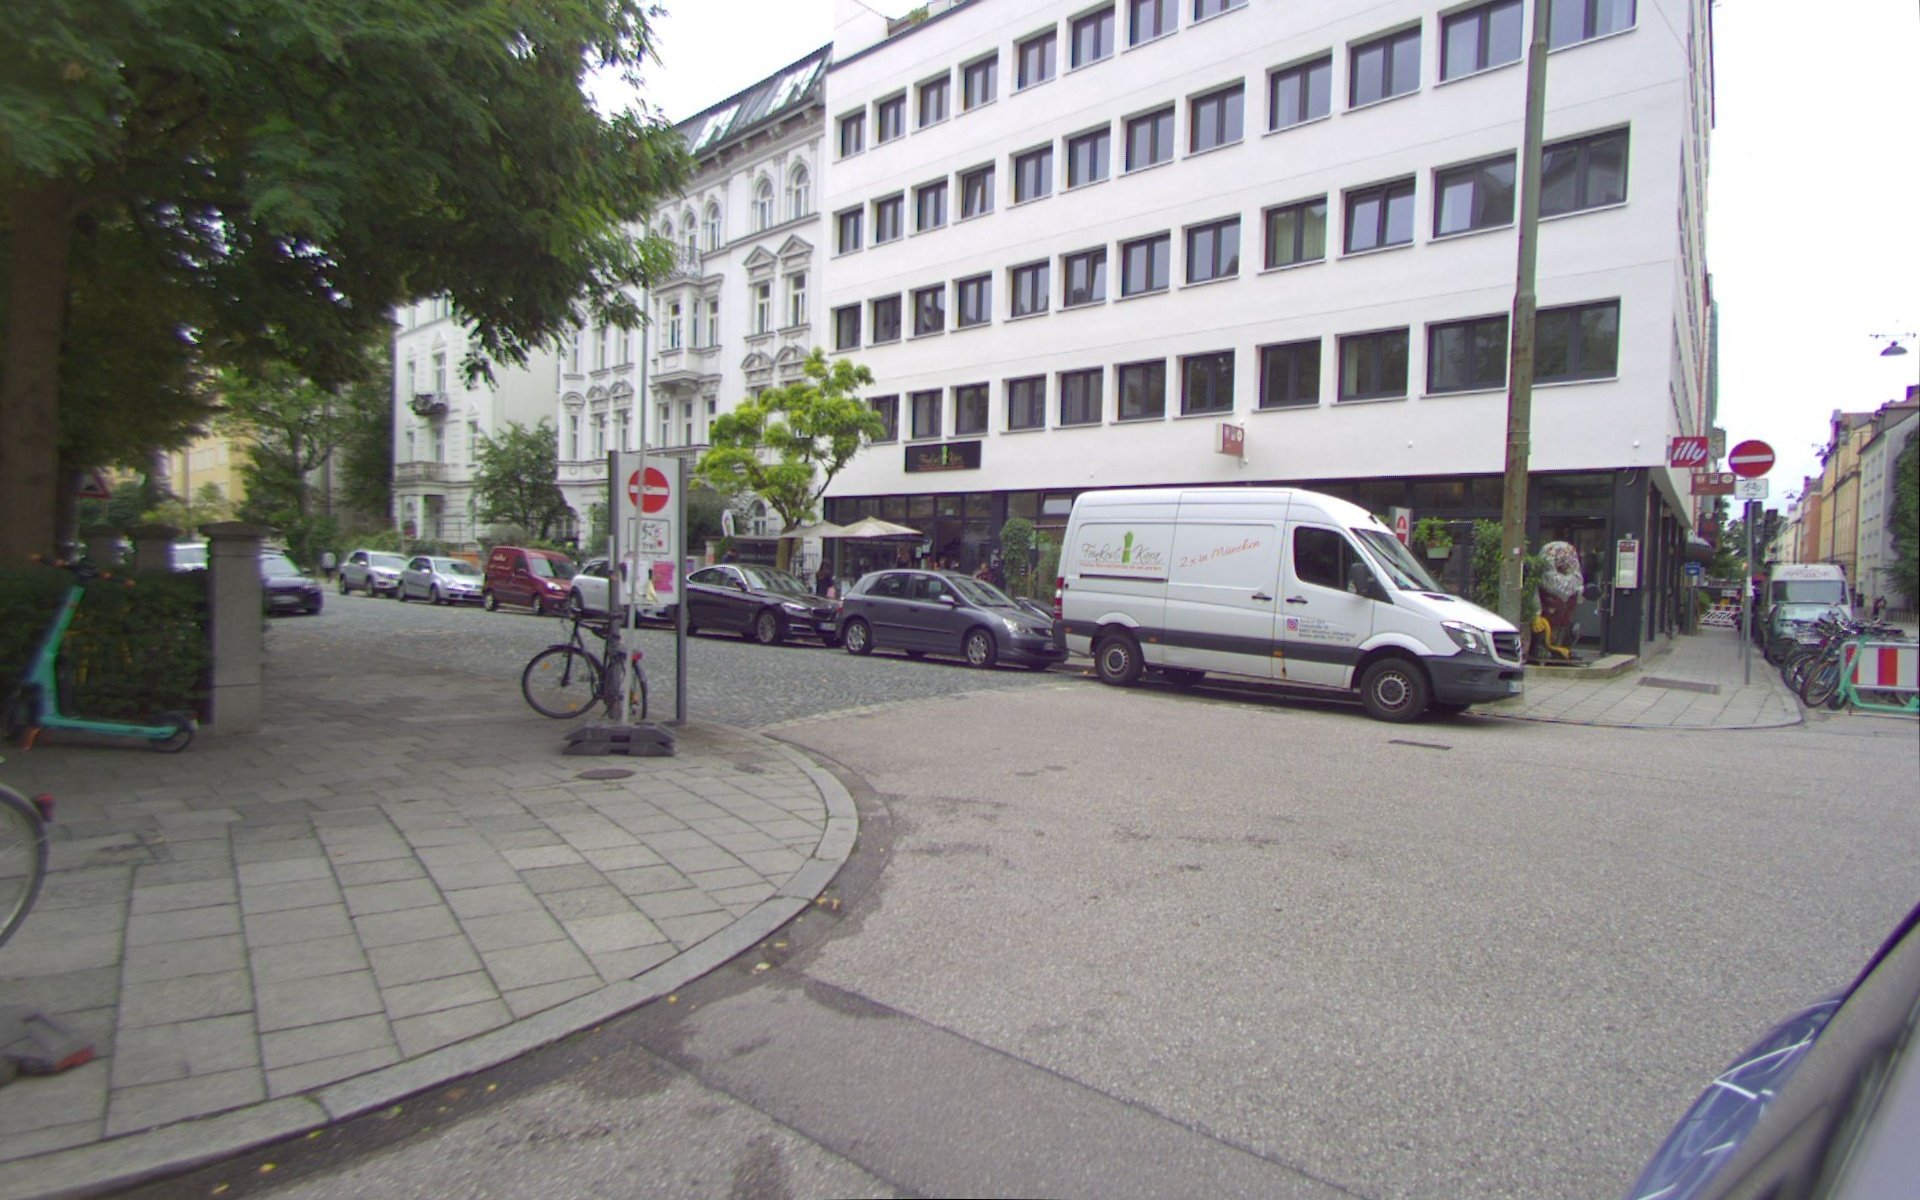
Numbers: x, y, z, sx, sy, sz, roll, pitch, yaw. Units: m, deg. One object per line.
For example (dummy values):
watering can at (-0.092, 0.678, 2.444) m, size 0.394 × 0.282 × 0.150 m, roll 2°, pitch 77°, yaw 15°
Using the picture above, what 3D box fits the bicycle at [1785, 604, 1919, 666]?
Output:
bicycle at (19.011, 0.712, 21.552) m, size 2.198 × 1.159 × 0.630 m, roll 3°, pitch 2°, yaw 40°

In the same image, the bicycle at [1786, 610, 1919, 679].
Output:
bicycle at (15.868, 0.764, 17.718) m, size 2.144 × 1.045 × 0.961 m, roll 3°, pitch 2°, yaw 40°

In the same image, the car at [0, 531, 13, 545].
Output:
car at (-140.570, -9.132, 148.509) m, size 3.986 × 2.038 × 1.969 m, roll 3°, pitch 2°, yaw 43°

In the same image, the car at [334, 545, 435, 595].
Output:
car at (-20.242, -1.078, 35.532) m, size 3.985 × 1.538 × 1.807 m, roll 3°, pitch -1°, yaw 41°

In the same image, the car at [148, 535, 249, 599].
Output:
car at (-21.215, -0.950, 28.147) m, size 3.987 × 1.638 × 1.611 m, roll 4°, pitch 3°, yaw 43°

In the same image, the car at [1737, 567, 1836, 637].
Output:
car at (27.951, 0.024, 34.356) m, size 1.985 × 2.160 × 3.955 m, roll 3°, pitch 2°, yaw 32°

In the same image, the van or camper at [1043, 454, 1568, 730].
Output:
van or camper at (4.105, -0.176, 12.940) m, size 5.854 × 2.748 × 2.267 m, roll 4°, pitch 0°, yaw 44°

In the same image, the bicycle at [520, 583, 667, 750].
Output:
bicycle at (-3.071, 0.471, 8.339) m, size 0.673 × 1.144 × 2.013 m, roll 1°, pitch 2°, yaw -33°

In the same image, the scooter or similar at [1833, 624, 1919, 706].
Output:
scooter or similar at (12.329, 0.853, 13.284) m, size 1.278 × 0.988 × 0.492 m, roll 3°, pitch 2°, yaw 40°

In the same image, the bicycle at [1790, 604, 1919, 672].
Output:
bicycle at (17.231, 0.708, 19.376) m, size 2.027 × 1.159 × 0.659 m, roll 3°, pitch 2°, yaw 40°

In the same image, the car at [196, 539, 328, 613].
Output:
car at (-16.905, -0.641, 24.451) m, size 3.987 × 1.635 × 1.828 m, roll 3°, pitch 4°, yaw 43°

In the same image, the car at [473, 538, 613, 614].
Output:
car at (-11.261, -0.664, 27.257) m, size 3.774 × 1.805 × 1.752 m, roll 3°, pitch -1°, yaw 37°

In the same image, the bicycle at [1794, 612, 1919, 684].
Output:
bicycle at (15.211, 0.789, 16.769) m, size 2.096 × 1.045 × 0.961 m, roll 3°, pitch 2°, yaw 40°

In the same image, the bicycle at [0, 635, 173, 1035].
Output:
bicycle at (-3.283, 0.699, 2.672) m, size 0.811 × 1.078 × 1.730 m, roll 2°, pitch 2°, yaw 25°

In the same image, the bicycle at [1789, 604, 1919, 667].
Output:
bicycle at (18.678, 0.712, 21.040) m, size 2.196 × 1.159 × 0.686 m, roll 3°, pitch 2°, yaw 40°

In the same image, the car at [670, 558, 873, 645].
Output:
car at (-3.763, -0.004, 19.818) m, size 4.158 × 1.407 × 1.766 m, roll 4°, pitch -1°, yaw 44°

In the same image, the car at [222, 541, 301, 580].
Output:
car at (-31.470, -1.778, 45.535) m, size 3.985 × 1.538 × 1.970 m, roll 3°, pitch -1°, yaw 41°

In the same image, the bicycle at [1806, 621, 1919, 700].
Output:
bicycle at (13.106, 0.851, 14.095) m, size 1.986 × 0.976 × 0.960 m, roll 3°, pitch 2°, yaw 40°

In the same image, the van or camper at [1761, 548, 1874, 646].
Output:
van or camper at (24.783, -0.146, 29.456) m, size 1.956 × 2.540 × 5.650 m, roll 3°, pitch 2°, yaw 36°

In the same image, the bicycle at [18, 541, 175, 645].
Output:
bicycle at (-12.693, -0.161, 14.814) m, size 3.756 × 1.326 × 0.952 m, roll 3°, pitch 2°, yaw 37°

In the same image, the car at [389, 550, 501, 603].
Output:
car at (-16.044, -0.758, 31.475) m, size 3.985 × 1.427 × 1.709 m, roll 3°, pitch -1°, yaw 42°

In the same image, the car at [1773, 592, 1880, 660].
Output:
car at (20.523, 0.544, 24.040) m, size 1.752 × 1.411 × 3.942 m, roll 3°, pitch 2°, yaw 40°

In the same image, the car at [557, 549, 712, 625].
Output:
car at (-7.637, -0.335, 23.537) m, size 3.990 × 1.557 × 1.740 m, roll 4°, pitch 0°, yaw 45°

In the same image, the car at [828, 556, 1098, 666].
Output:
car at (-0.031, 0.141, 16.476) m, size 4.127 × 1.505 × 1.865 m, roll 3°, pitch -1°, yaw 40°

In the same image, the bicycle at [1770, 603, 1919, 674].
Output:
bicycle at (16.568, 0.695, 18.902) m, size 2.199 × 1.159 × 0.729 m, roll 3°, pitch 2°, yaw 40°

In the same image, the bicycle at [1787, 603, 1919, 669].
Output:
bicycle at (17.733, 0.687, 19.944) m, size 2.172 × 1.159 × 0.665 m, roll 3°, pitch 2°, yaw 40°

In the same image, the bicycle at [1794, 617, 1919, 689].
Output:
bicycle at (14.541, 0.832, 15.912) m, size 2.165 × 0.976 × 0.961 m, roll 3°, pitch 2°, yaw 40°

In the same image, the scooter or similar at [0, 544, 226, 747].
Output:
scooter or similar at (-5.608, 0.295, 6.694) m, size 1.156 × 1.285 × 0.401 m, roll 1°, pitch 1°, yaw -9°

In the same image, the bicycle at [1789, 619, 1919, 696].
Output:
bicycle at (13.767, 0.853, 15.071) m, size 2.168 × 0.988 × 0.961 m, roll 3°, pitch 2°, yaw 40°
